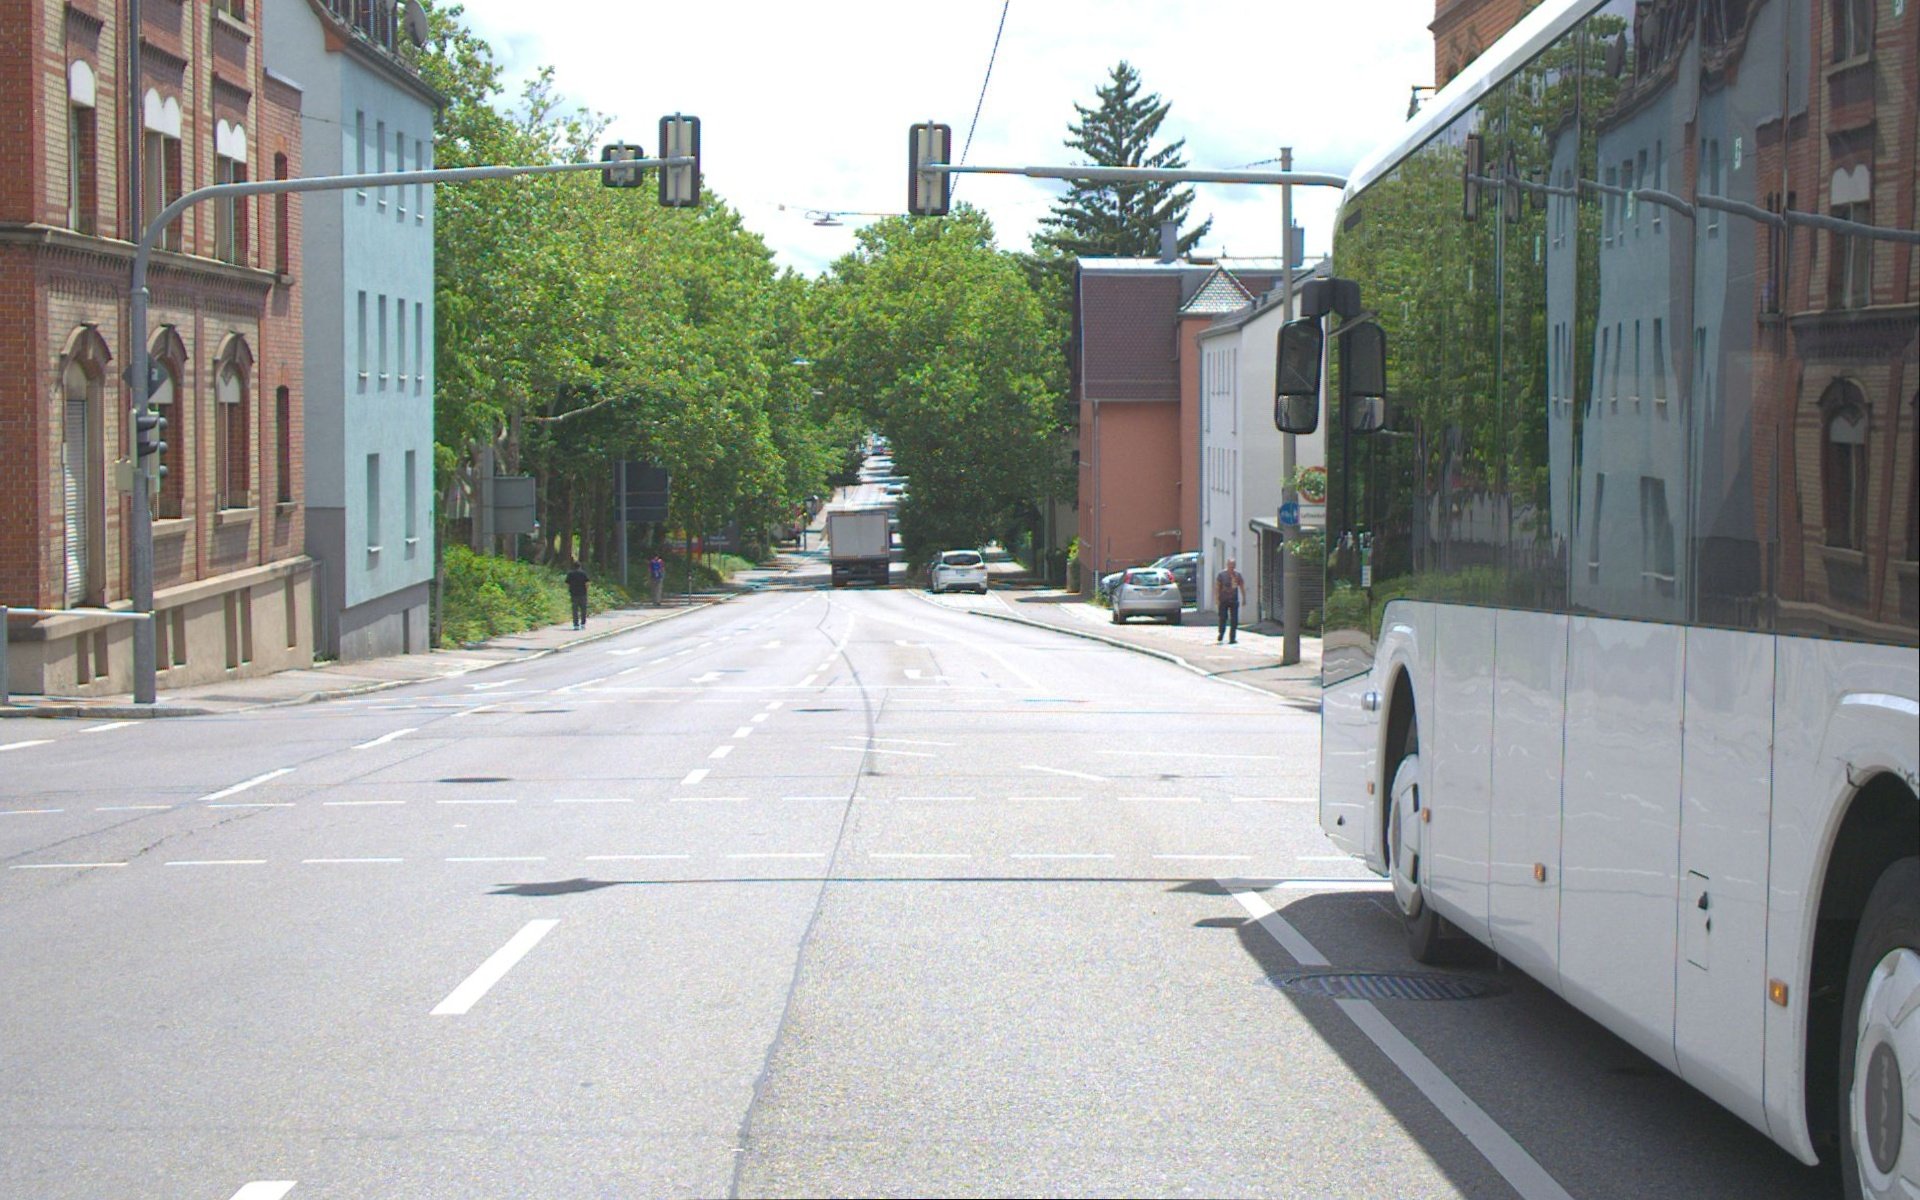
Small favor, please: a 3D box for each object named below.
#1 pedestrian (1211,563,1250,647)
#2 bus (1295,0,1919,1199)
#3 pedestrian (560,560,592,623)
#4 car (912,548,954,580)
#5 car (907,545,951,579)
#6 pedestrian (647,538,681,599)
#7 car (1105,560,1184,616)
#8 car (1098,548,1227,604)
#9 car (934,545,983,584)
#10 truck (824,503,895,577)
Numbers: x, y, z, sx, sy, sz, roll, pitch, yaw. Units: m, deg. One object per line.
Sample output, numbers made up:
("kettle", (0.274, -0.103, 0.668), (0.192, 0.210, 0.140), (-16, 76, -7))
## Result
("pedestrian", (5.653, 0.102, 71.872), (0.738, 1.744, 0.619), (-1, 1, -1))
("bus", (2.921, -0.145, 9.159), (2.672, 3.145, 12.462), (1, 1, -1))
("pedestrian", (-9.558, -0.215, 85.627), (0.729, 1.560, 0.561), (0, 1, -1))
("car", (-1.187, -1.619, 153.920), (1.794, 1.405, 4.419), (1, 1, 0))
("car", (-1.287, -1.612, 145.814), (1.794, 1.405, 4.419), (1, 1, 0))
("pedestrian", (-9.806, -1.051, 113.957), (0.995, 2.007, 1.189), (-1, 1, -1))
("car", (4.982, -0.348, 93.059), (1.794, 1.405, 4.001), (-1, 1, -2))
("car", (6.658, -0.802, 113.157), (3.986, 1.751, 2.000), (-1, 1, -5))
("car", (-0.057, -1.330, 129.286), (1.794, 1.405, 4.000), (1, 1, -1))
("truck", (-4.433, -2.636, 150.345), (2.926, 3.070, 7.886), (-1, 1, -3))
